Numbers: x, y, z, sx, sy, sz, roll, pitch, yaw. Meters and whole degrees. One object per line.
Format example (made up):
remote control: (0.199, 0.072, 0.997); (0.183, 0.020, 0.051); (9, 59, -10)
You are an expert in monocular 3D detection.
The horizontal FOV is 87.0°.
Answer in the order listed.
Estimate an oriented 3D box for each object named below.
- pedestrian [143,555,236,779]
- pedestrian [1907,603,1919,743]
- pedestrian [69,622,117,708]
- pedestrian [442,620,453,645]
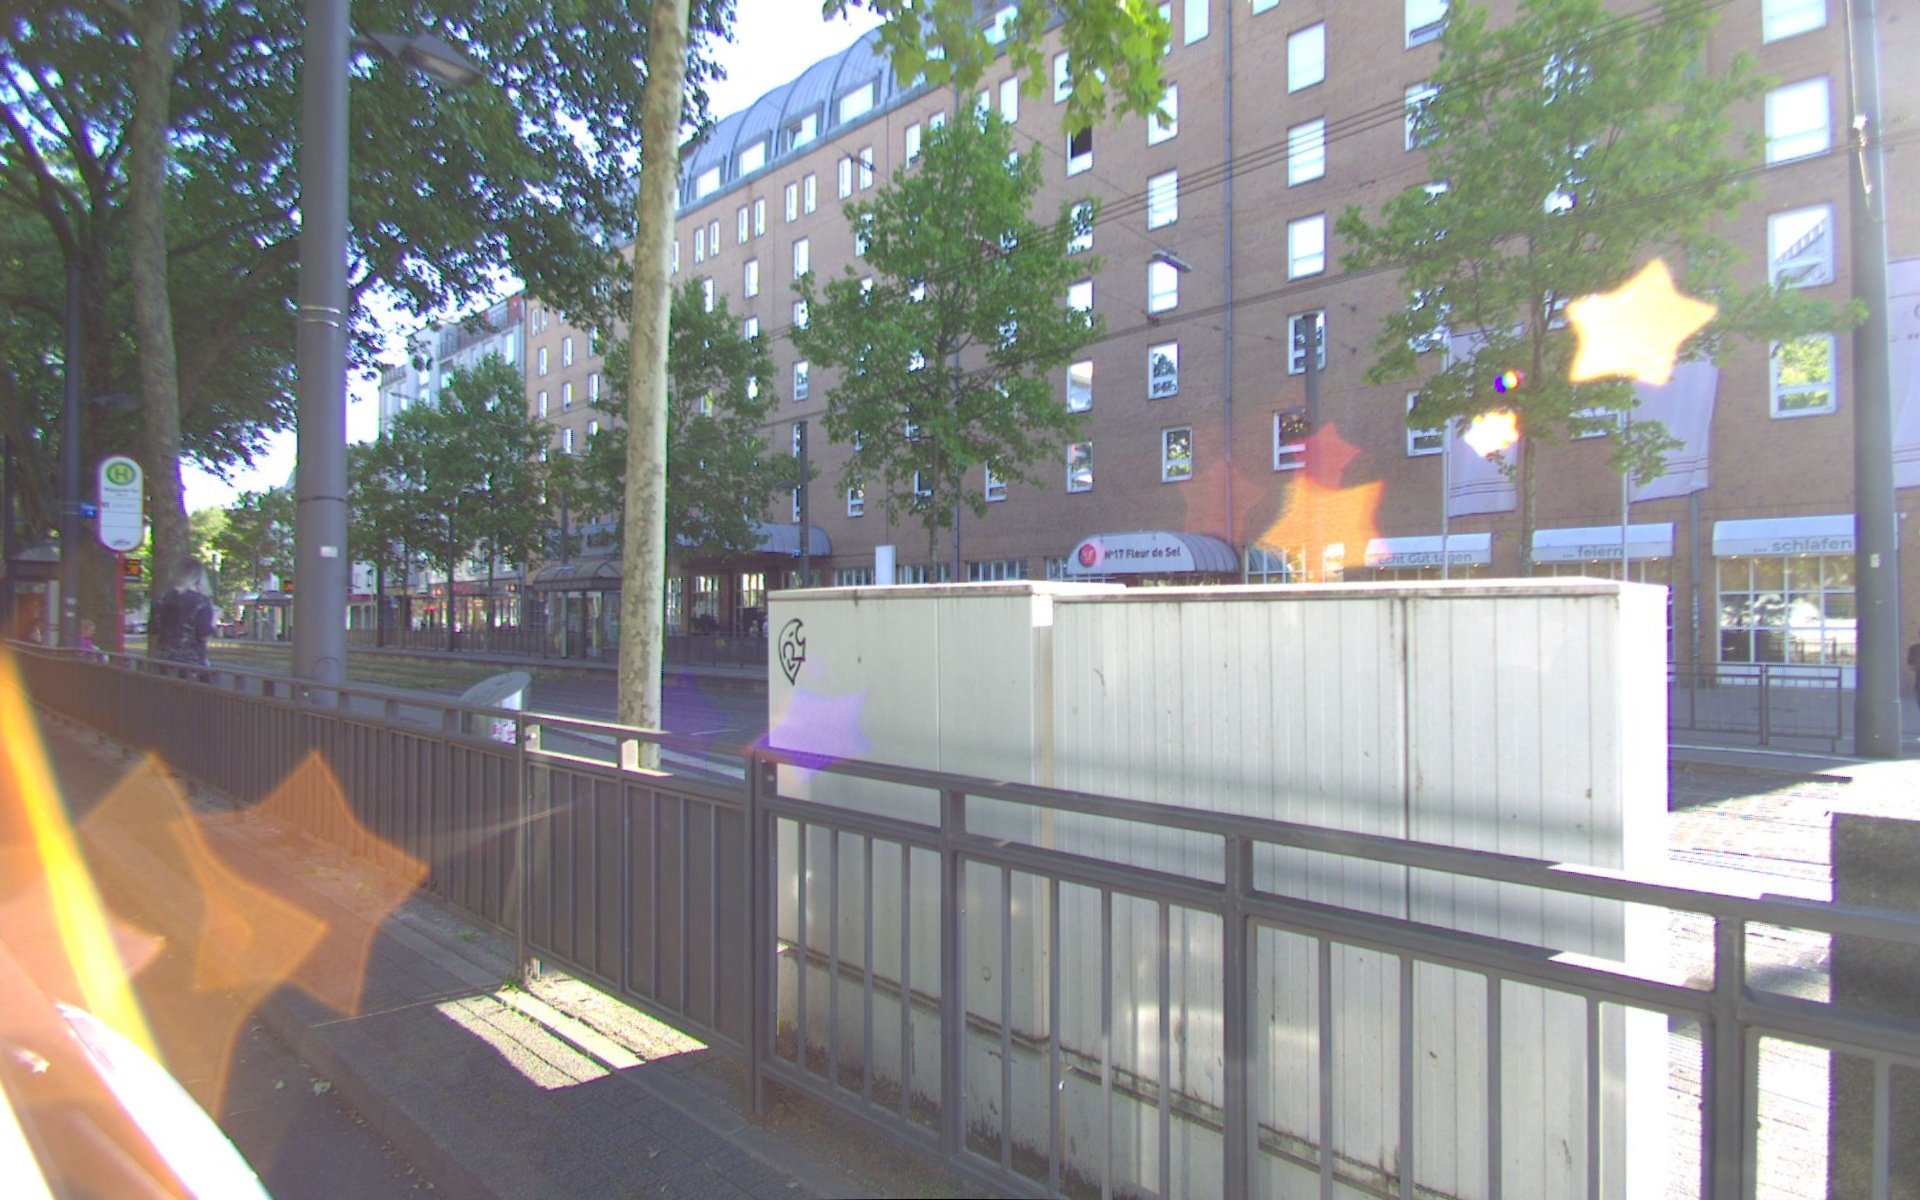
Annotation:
pedestrian: (-6.640, 0.551, 8.720); (0.524, 1.848, 0.536); (-1, 0, 42)
pedestrian: (13.112, 0.950, 13.282); (0.957, 1.812, 0.979); (-1, 0, 42)
pedestrian: (-13.967, 1.037, 16.312); (0.534, 1.327, 0.525); (-1, 0, -37)
pedestrian: (-34.995, 2.223, 69.054); (0.574, 1.748, 0.497); (-2, -2, 43)
